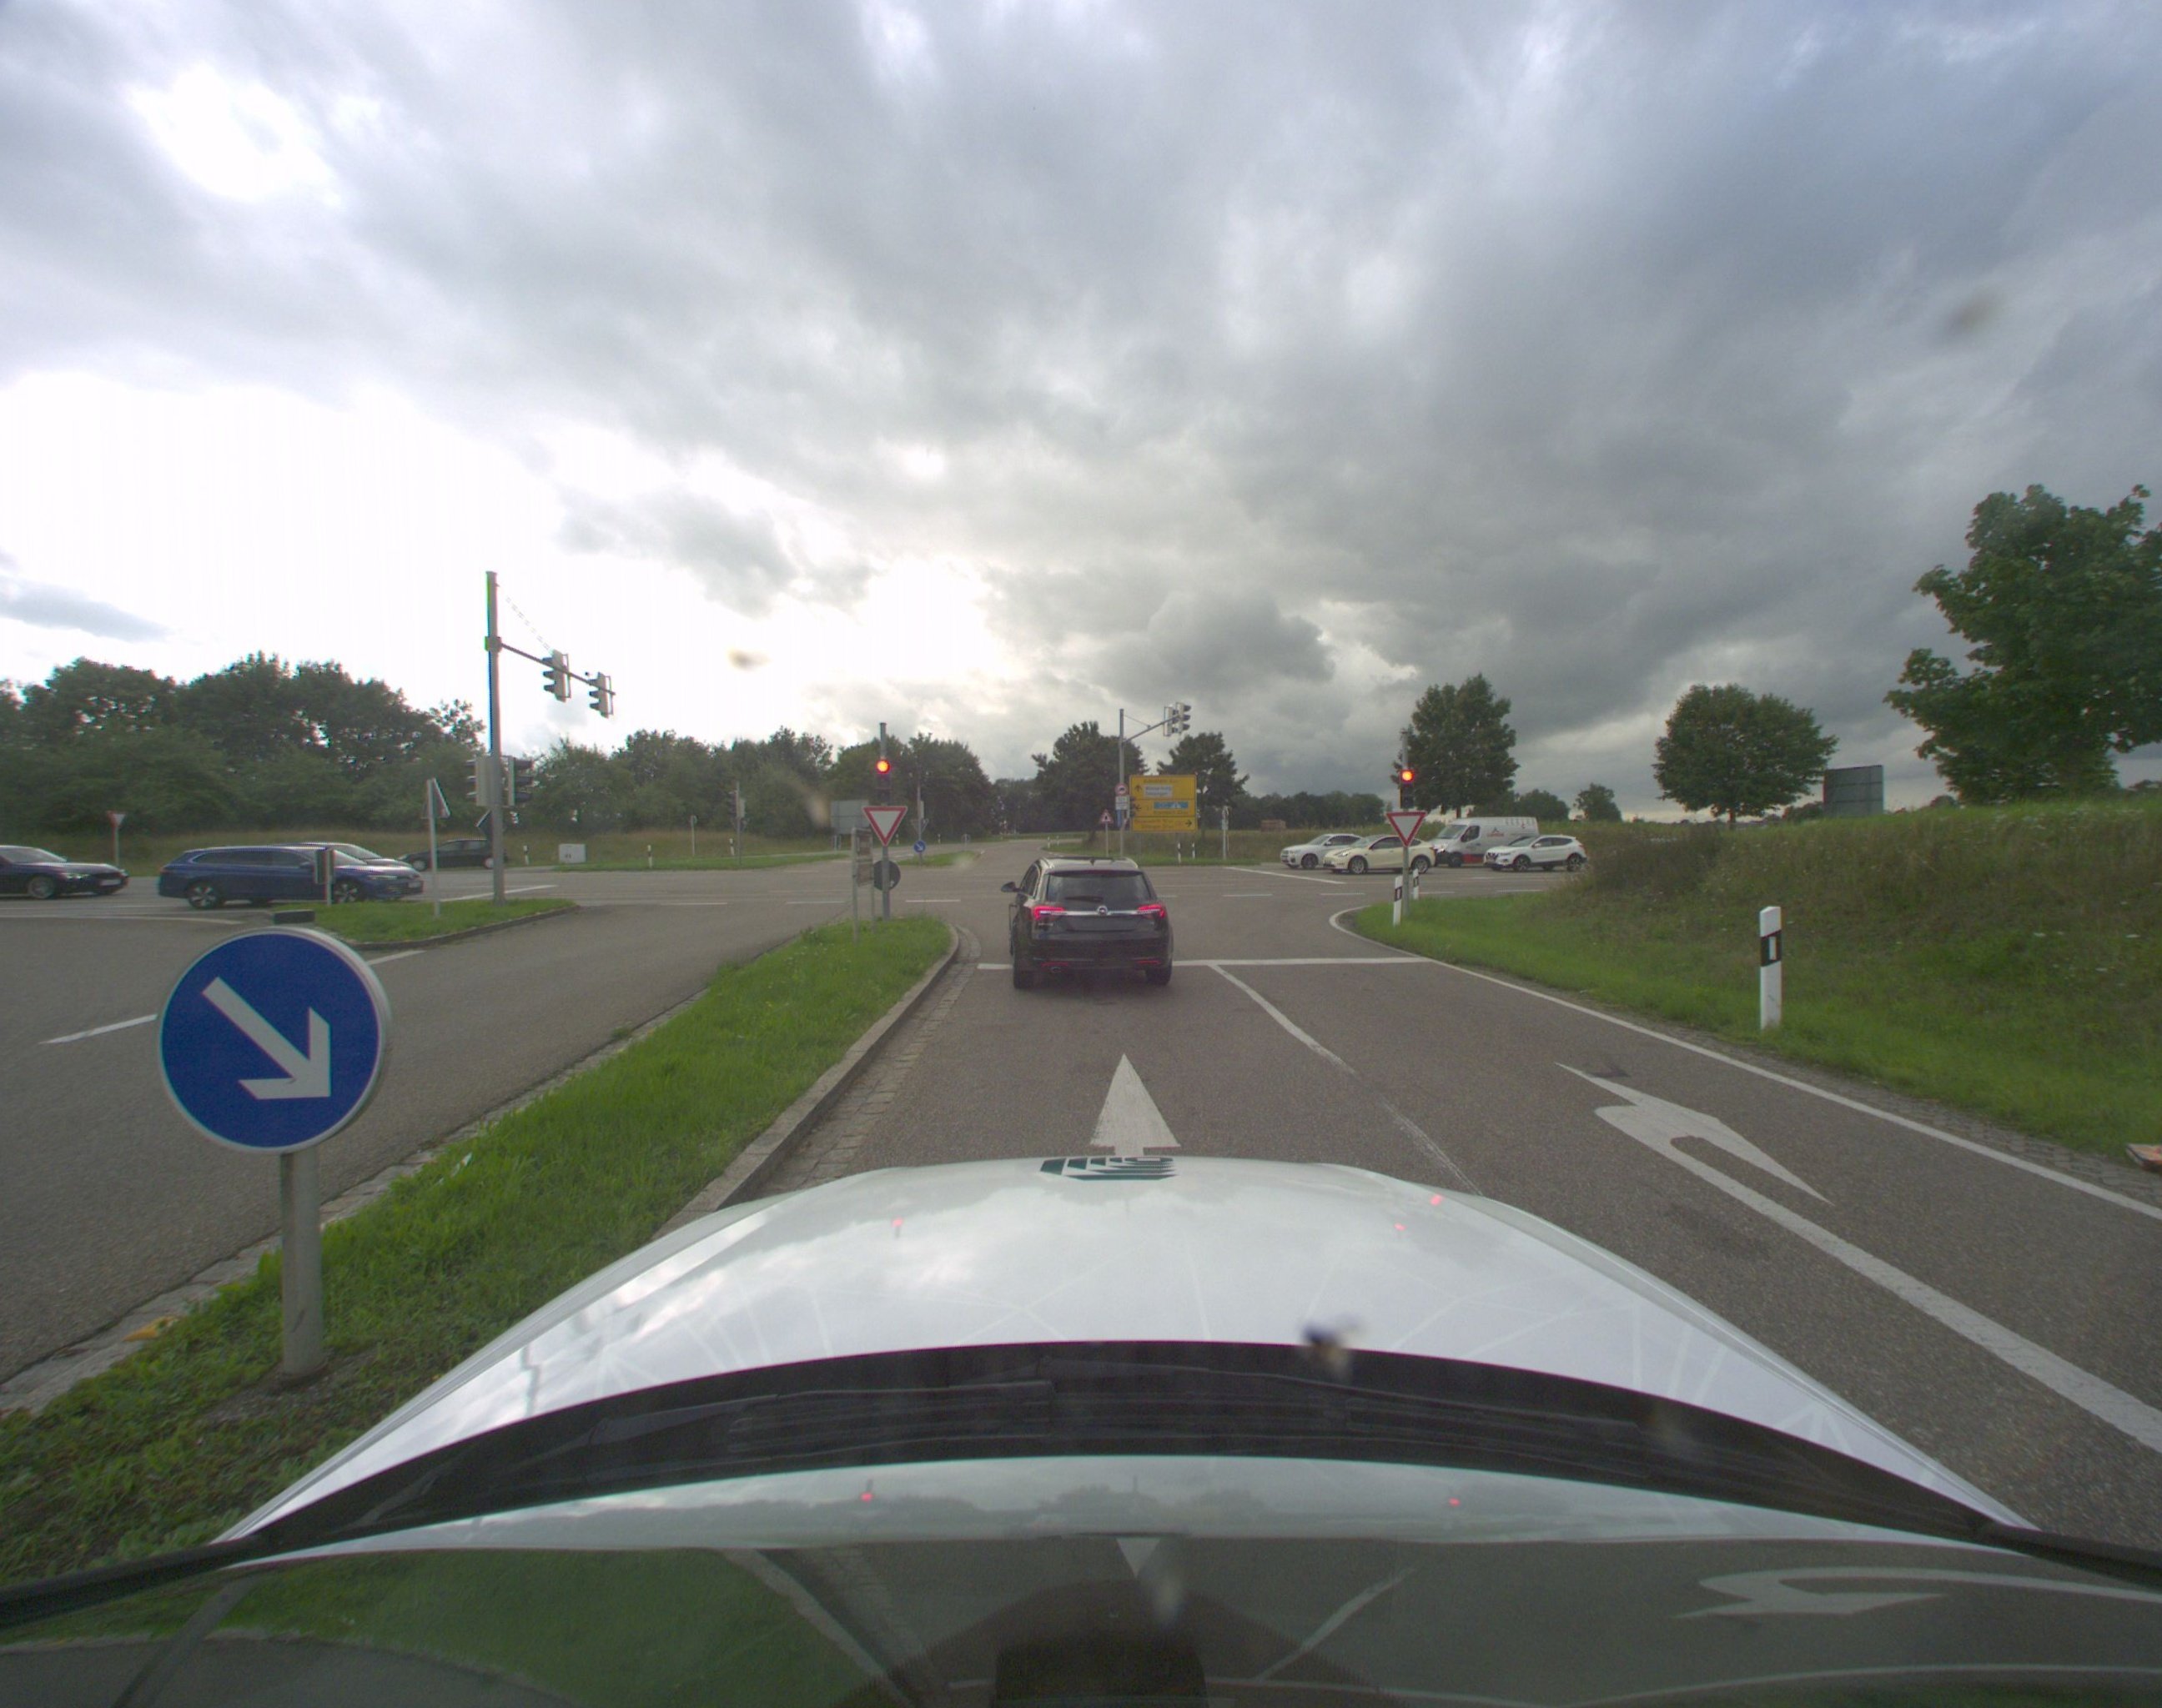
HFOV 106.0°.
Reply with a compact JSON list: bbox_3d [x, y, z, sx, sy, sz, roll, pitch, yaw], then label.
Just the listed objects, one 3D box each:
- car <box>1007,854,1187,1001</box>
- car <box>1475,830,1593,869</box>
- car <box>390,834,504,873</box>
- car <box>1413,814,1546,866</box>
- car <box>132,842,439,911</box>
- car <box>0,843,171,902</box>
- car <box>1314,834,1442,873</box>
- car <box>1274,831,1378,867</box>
[{"bbox_3d":[-0.014,0.751,10.490,1.805,1.450,4.264,0,0,-6],"label":"car"},{"bbox_3d":[19.933,-0.209,35.929,4.309,1.629,1.993,0,0,-10],"label":"car"},{"bbox_3d":[-29.168,-0.053,37.528,4.021,1.689,1.827,-1,0,-41],"label":"car"},{"bbox_3d":[19.498,-0.683,39.958,5.494,2.441,2.390,0,0,-10],"label":"car"},{"bbox_3d":[-19.556,0.507,20.332,5.115,1.534,2.043,-1,2,-13],"label":"car"},{"bbox_3d":[-28.745,0.472,22.227,4.869,1.483,2.047,0,3,-12],"label":"car"},{"bbox_3d":[12.452,-0.041,34.284,4.734,1.564,1.993,0,0,-11],"label":"car"},{"bbox_3d":[11.410,-0.252,38.064,4.262,1.629,1.993,0,0,-11],"label":"car"}]
